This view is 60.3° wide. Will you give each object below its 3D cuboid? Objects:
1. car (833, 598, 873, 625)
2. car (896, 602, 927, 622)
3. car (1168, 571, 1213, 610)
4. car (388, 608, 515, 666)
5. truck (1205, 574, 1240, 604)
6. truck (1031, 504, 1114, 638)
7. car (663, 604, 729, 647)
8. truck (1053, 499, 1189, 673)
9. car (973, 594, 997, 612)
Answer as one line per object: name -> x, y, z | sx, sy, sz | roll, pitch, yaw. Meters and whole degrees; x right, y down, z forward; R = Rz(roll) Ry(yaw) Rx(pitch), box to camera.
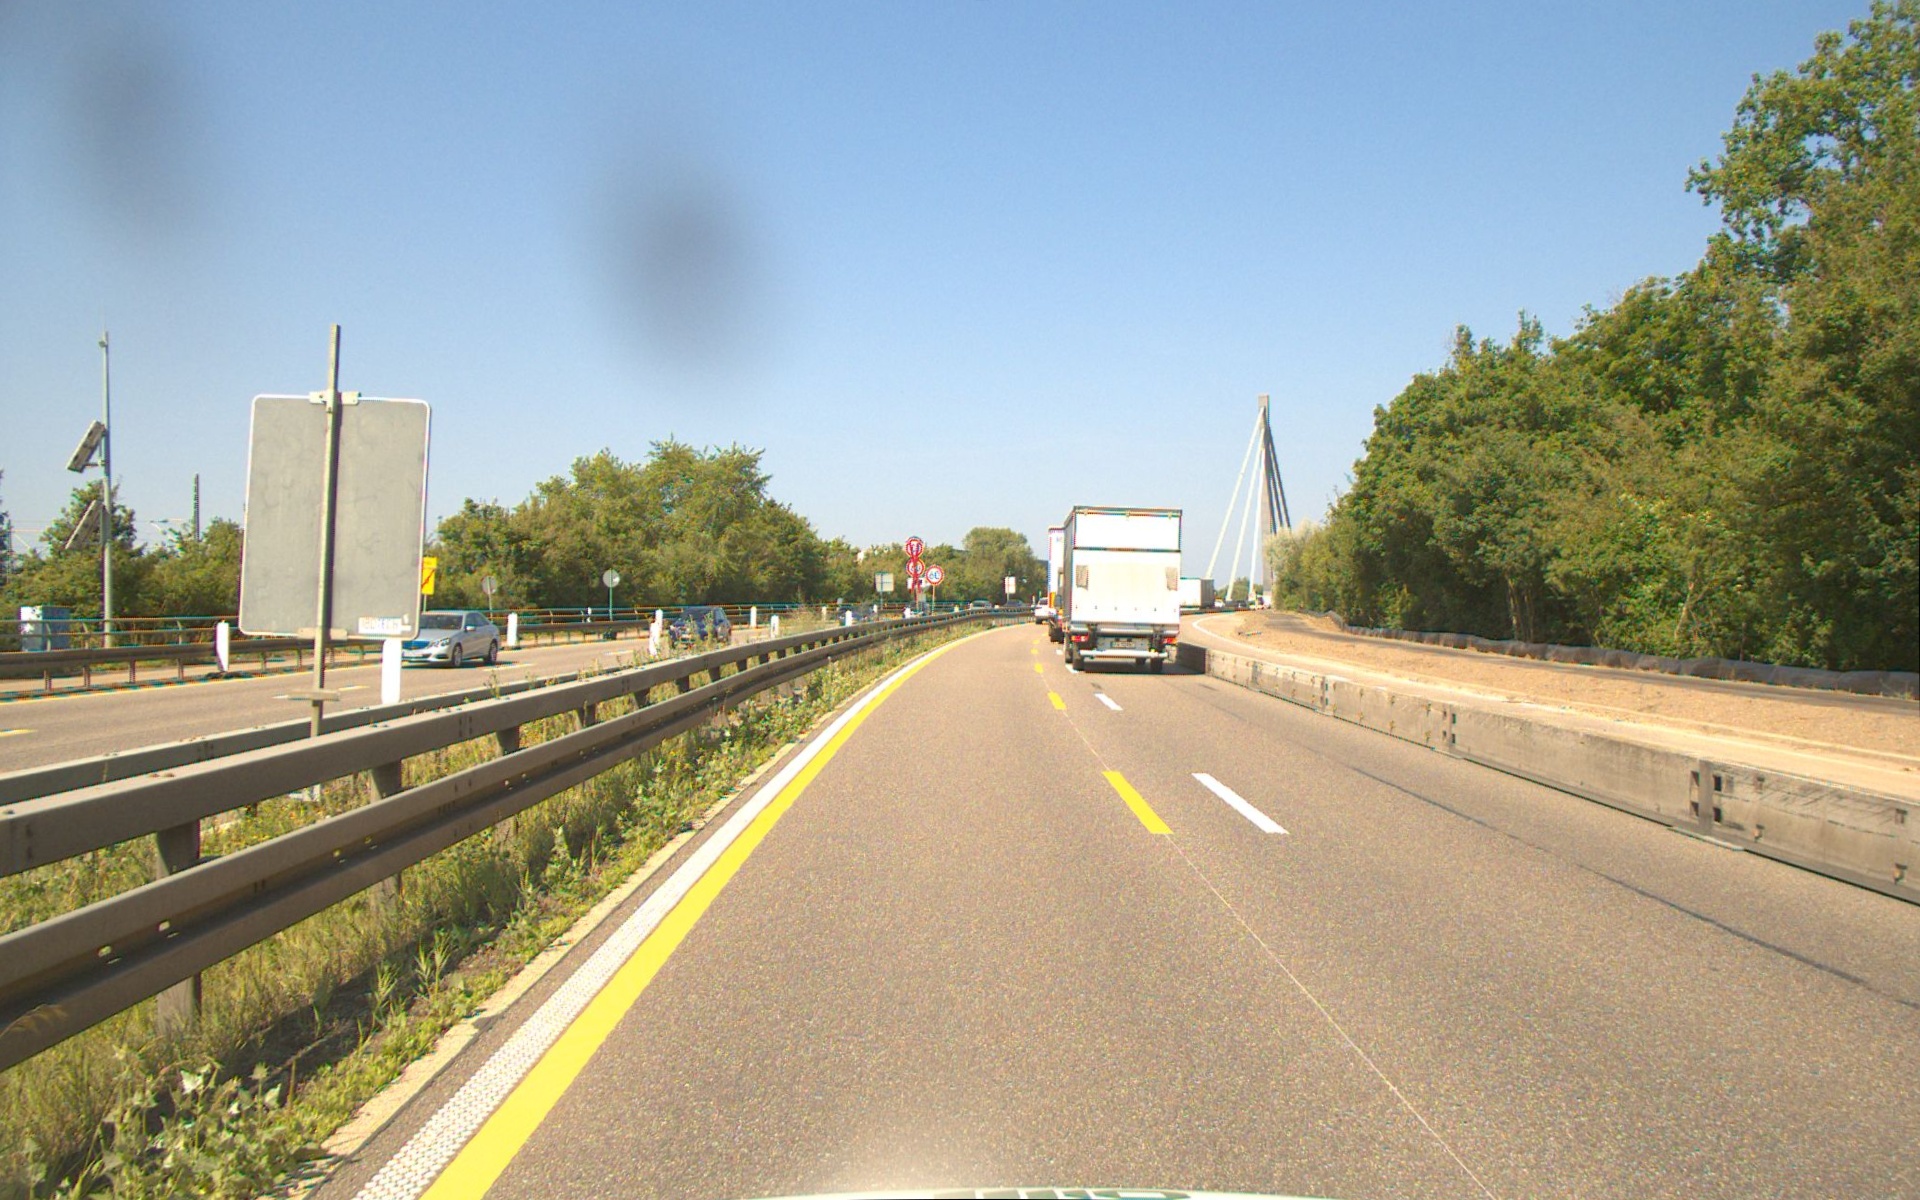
car -> -6.470, 0.698, 100.349 | 1.952, 1.579, 4.002 | -1, 0, 3
car -> -3.884, 0.977, 133.506 | 1.951, 1.579, 4.003 | -1, 0, 7
car -> 27.590, -1.167, 197.725 | 4.118, 4.326, 10.671 | -2, 1, 14
car -> -13.834, 0.964, 45.292 | 1.845, 1.445, 4.860 | -1, 0, 2
truck -> 39.227, -1.674, 247.079 | 4.130, 4.341, 10.250 | -2, 1, 14
truck -> 4.034, -1.010, 60.754 | 2.580, 4.547, 7.234 | 1, 0, 1
car -> -9.855, 0.934, 61.956 | 1.702, 1.524, 4.001 | -1, 0, 1
truck -> 3.489, -0.293, 37.367 | 2.579, 3.487, 7.235 | 1, 0, 2
car -> 2.257, 0.279, 147.889 | 1.951, 1.579, 4.002 | -1, 0, 4
